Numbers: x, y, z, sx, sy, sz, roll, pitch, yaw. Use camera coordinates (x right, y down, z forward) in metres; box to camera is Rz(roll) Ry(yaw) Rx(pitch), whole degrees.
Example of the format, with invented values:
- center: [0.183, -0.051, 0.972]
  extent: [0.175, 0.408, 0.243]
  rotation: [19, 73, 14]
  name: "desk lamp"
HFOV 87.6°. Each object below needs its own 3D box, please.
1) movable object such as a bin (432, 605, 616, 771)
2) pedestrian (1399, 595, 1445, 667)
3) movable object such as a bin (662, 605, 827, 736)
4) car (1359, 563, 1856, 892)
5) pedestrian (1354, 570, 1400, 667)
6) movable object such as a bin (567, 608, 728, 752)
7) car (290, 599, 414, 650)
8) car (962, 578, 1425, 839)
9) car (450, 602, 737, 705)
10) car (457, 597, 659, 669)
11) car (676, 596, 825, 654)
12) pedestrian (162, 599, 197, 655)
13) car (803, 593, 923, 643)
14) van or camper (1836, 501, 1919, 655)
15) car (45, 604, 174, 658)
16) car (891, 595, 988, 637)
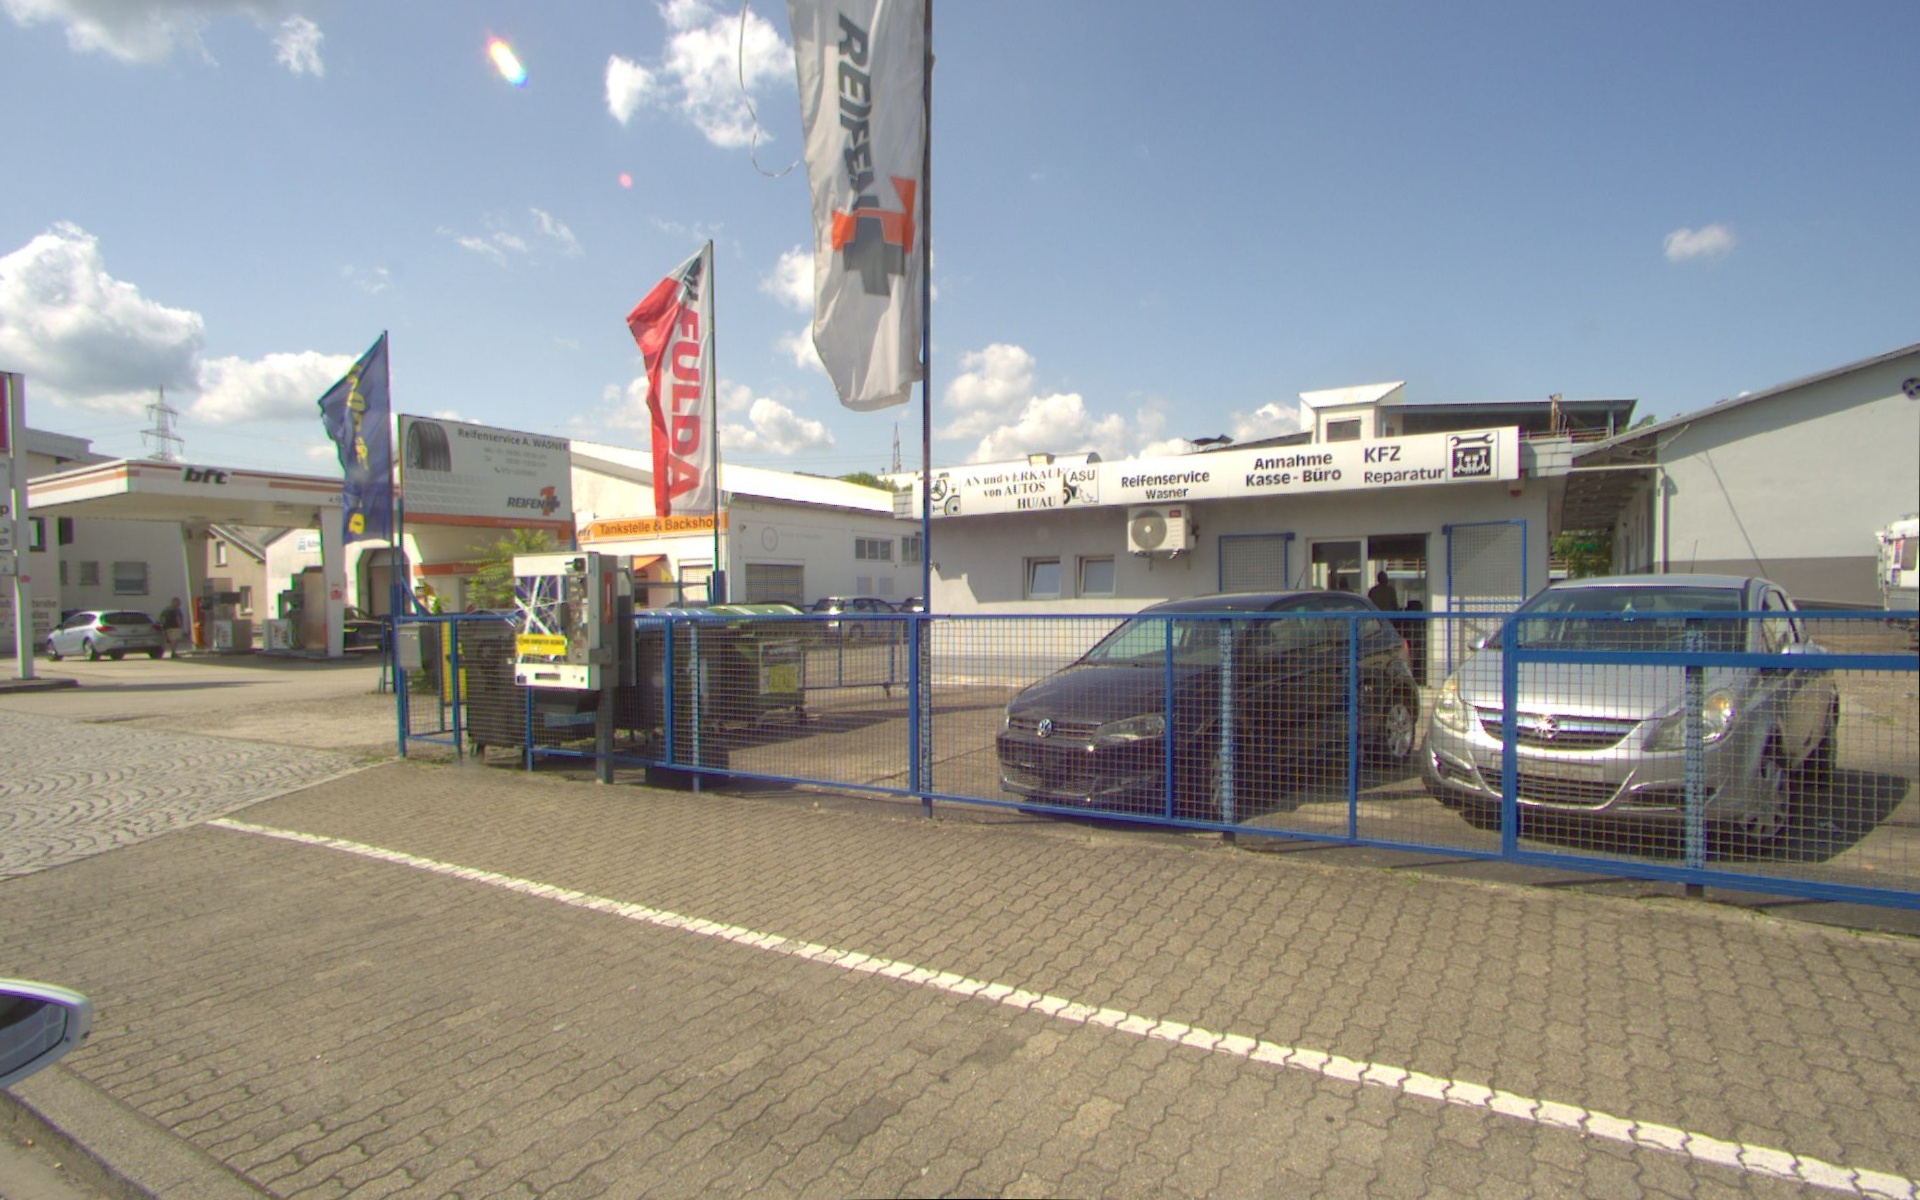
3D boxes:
- center: [-4.164, 0.784, 9.602]
  extent: [1.225, 1.455, 1.106]
  rotation: [0, 1, 31]
  name: "movable object such as a bin"
- center: [8.042, 0.531, 17.433]
  extent: [0.654, 1.225, 0.563]
  rotation: [0, 1, 34]
  name: "pedestrian"
- center: [-2.538, 0.781, 11.897]
  extent: [1.318, 1.414, 1.400]
  rotation: [0, 1, 31]
  name: "movable object such as a bin"
- center: [4.267, 0.559, 6.375]
  extent: [3.729, 1.472, 1.757]
  rotation: [-1, 0, -42]
  name: "car"
- center: [7.347, 0.318, 17.640]
  extent: [0.654, 1.671, 0.563]
  rotation: [0, 1, 34]
  name: "pedestrian"
- center: [-3.332, 0.801, 10.733]
  extent: [1.225, 1.415, 1.106]
  rotation: [0, 1, 31]
  name: "movable object such as a bin"
- center: [-19.447, 0.767, 32.011]
  extent: [3.777, 1.523, 1.803]
  rotation: [-1, 0, 31]
  name: "car"
- center: [1.898, 0.600, 7.489]
  extent: [3.655, 1.472, 1.625]
  rotation: [-1, 0, -43]
  name: "car"
- center: [-5.908, 0.786, 16.620]
  extent: [1.653, 1.434, 4.256]
  rotation: [0, 0, 37]
  name: "car"
- center: [-9.169, 0.687, 23.159]
  extent: [1.564, 1.482, 4.187]
  rotation: [0, 0, 33]
  name: "car"
- center: [-5.722, 0.640, 27.814]
  extent: [1.564, 1.482, 4.187]
  rotation: [0, 0, 33]
  name: "car"
- center: [-23.780, 0.800, 30.512]
  extent: [0.698, 1.679, 0.546]
  rotation: [-1, 1, -22]
  name: "pedestrian"
- center: [-3.019, 0.526, 32.045]
  extent: [1.564, 1.482, 4.187]
  rotation: [0, 0, 33]
  name: "car"
- center: [21.010, -0.455, 19.523]
  extent: [5.571, 3.005, 2.264]
  rotation: [0, 1, 31]
  name: "van or camper"
- center: [-25.741, 0.900, 30.302]
  extent: [3.776, 1.523, 1.803]
  rotation: [-1, 0, 30]
  name: "car"
- center: [-0.664, 0.533, 35.698]
  extent: [1.564, 1.385, 3.860]
  rotation: [0, 0, 33]
  name: "car"
